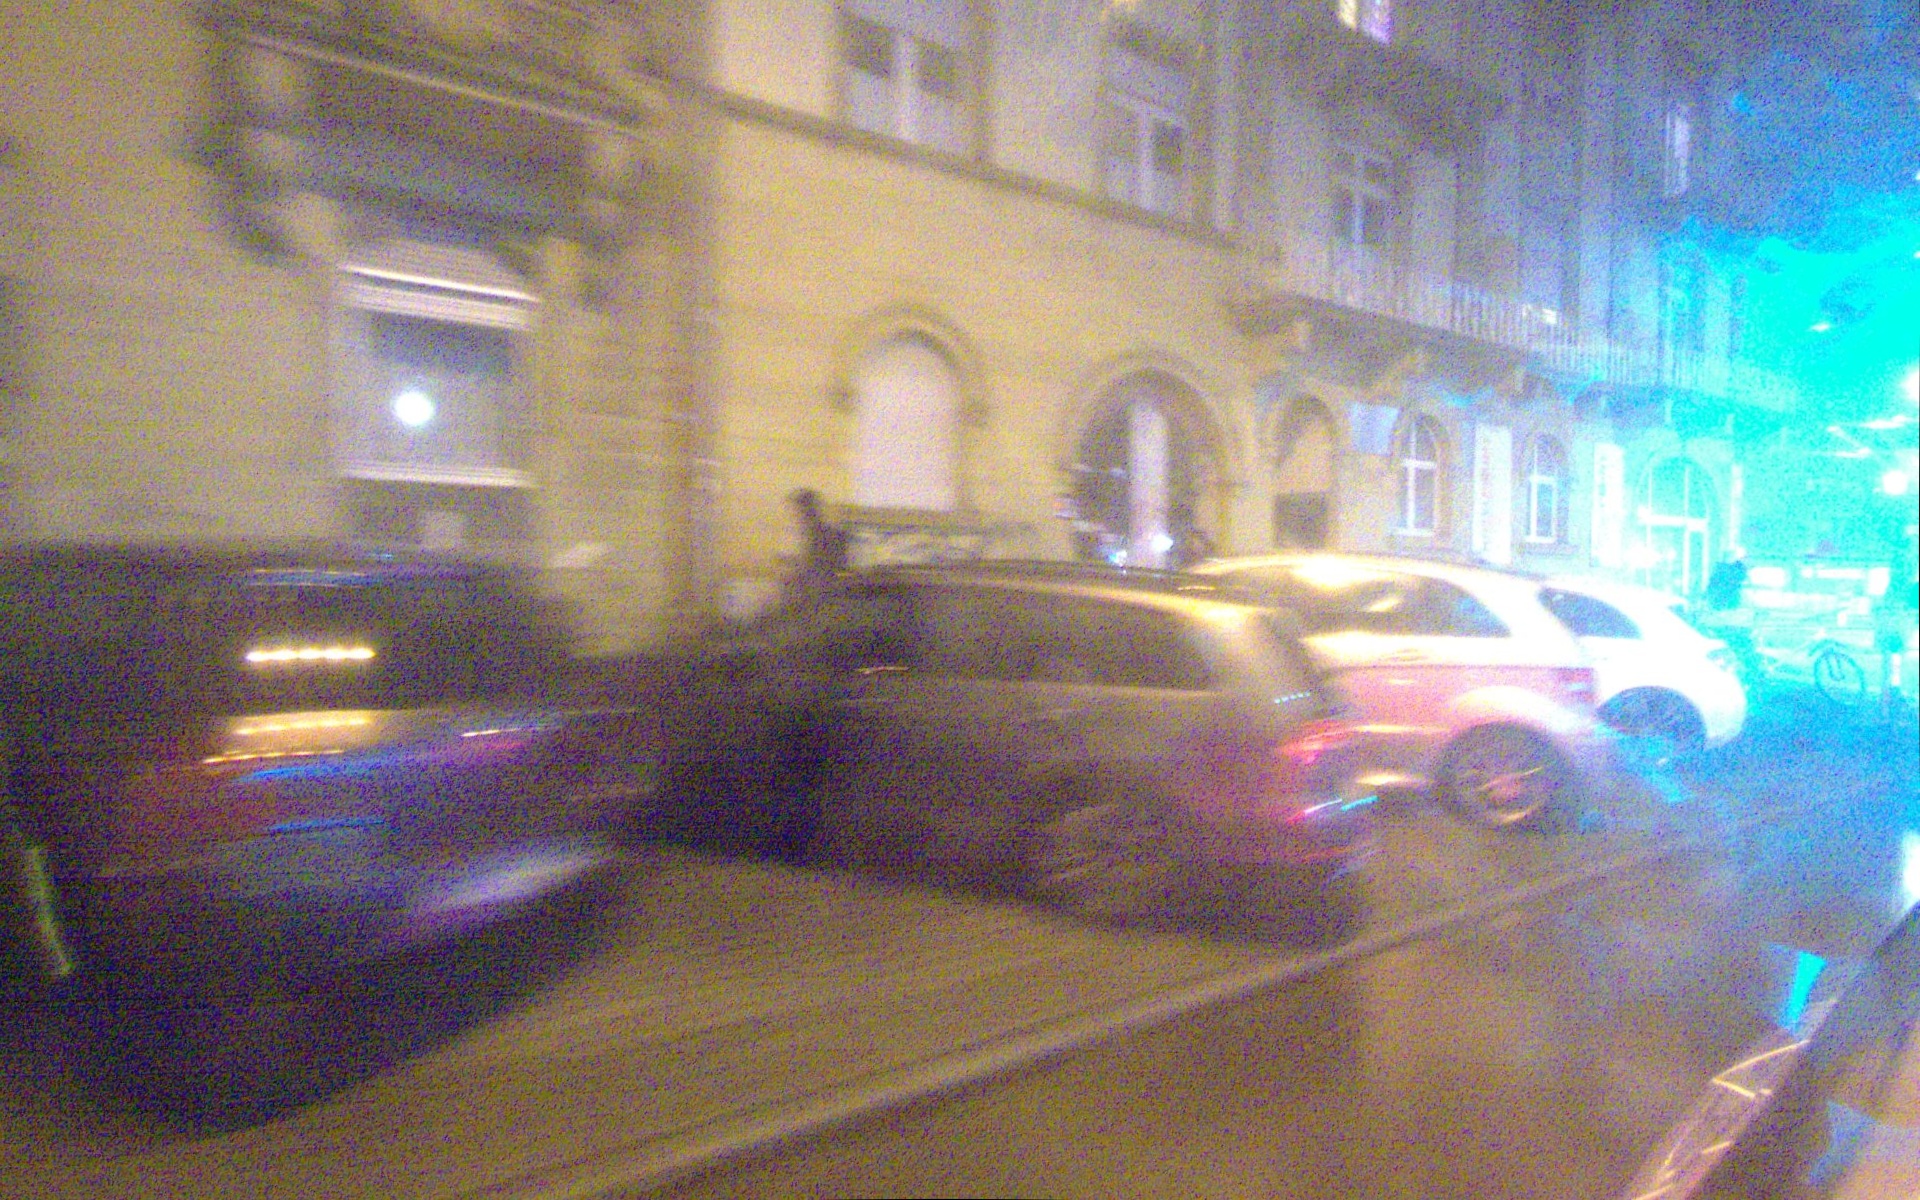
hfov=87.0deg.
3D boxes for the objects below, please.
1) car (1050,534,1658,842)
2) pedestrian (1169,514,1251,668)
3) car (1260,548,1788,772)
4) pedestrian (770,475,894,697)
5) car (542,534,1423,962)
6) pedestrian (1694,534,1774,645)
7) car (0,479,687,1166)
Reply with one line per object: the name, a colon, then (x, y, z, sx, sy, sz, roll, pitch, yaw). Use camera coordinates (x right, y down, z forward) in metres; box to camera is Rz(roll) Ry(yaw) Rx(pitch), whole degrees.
car: (2.455, 0.415, 6.831, 3.357, 1.611, 1.583, 2, 2, 22)
pedestrian: (2.827, -0.098, 11.463, 0.589, 1.685, 0.576, 2, 1, -33)
car: (4.431, 0.372, 8.561, 3.555, 1.580, 1.701, 1, 2, 20)
pedestrian: (-1.109, -0.121, 8.730, 0.768, 1.812, 0.658, 2, 1, -33)
car: (0.042, 0.481, 5.194, 4.064, 1.510, 1.584, 2, 2, 21)
pedestrian: (13.832, -0.190, 18.096, 0.867, 1.930, 0.807, 2, 1, -33)
car: (-2.917, 0.456, 3.784, 3.445, 1.580, 1.624, 1, 2, 25)
